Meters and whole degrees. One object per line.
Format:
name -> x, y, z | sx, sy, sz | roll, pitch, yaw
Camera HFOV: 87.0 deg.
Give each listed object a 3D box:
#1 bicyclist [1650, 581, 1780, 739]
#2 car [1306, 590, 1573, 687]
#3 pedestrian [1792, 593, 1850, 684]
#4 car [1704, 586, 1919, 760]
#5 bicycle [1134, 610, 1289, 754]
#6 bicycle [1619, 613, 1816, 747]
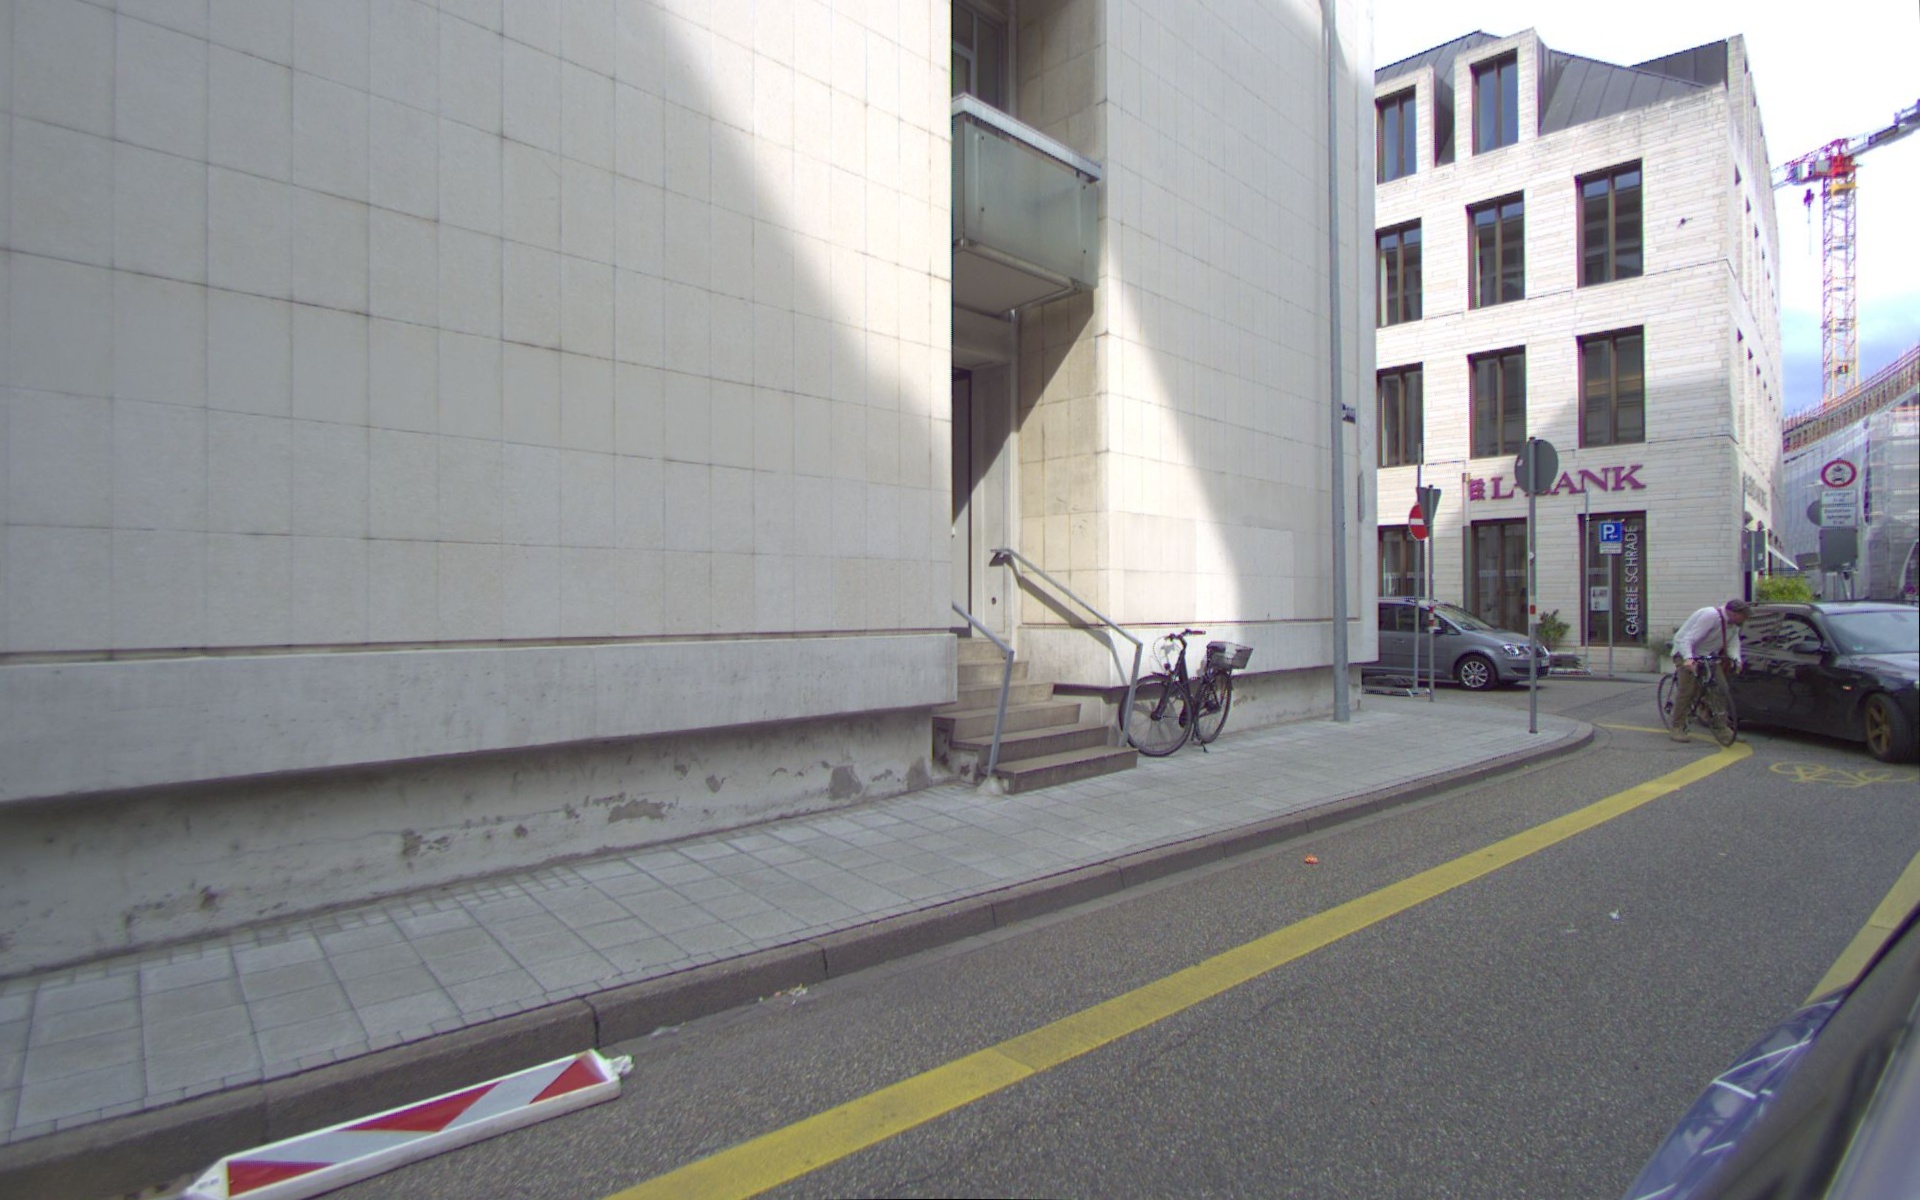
bicyclist -> 8.120, 0.609, 10.934 | 0.881, 1.614, 0.872 | 0, 0, 19
car -> 8.878, 0.622, 18.985 | 1.784, 1.610, 4.187 | -1, 1, -42
pedestrian -> 18.148, 0.791, 21.351 | 0.767, 1.854, 0.853 | 0, 0, 29
car -> 9.389, 0.618, 10.043 | 1.690, 1.509, 3.754 | -1, 0, 10
bicycle -> 2.371, 0.704, 9.415 | 0.589, 1.182, 1.786 | 0, 0, 44
bicycle -> 8.199, 0.779, 11.151 | 0.860, 1.209, 2.847 | 0, 0, 18
